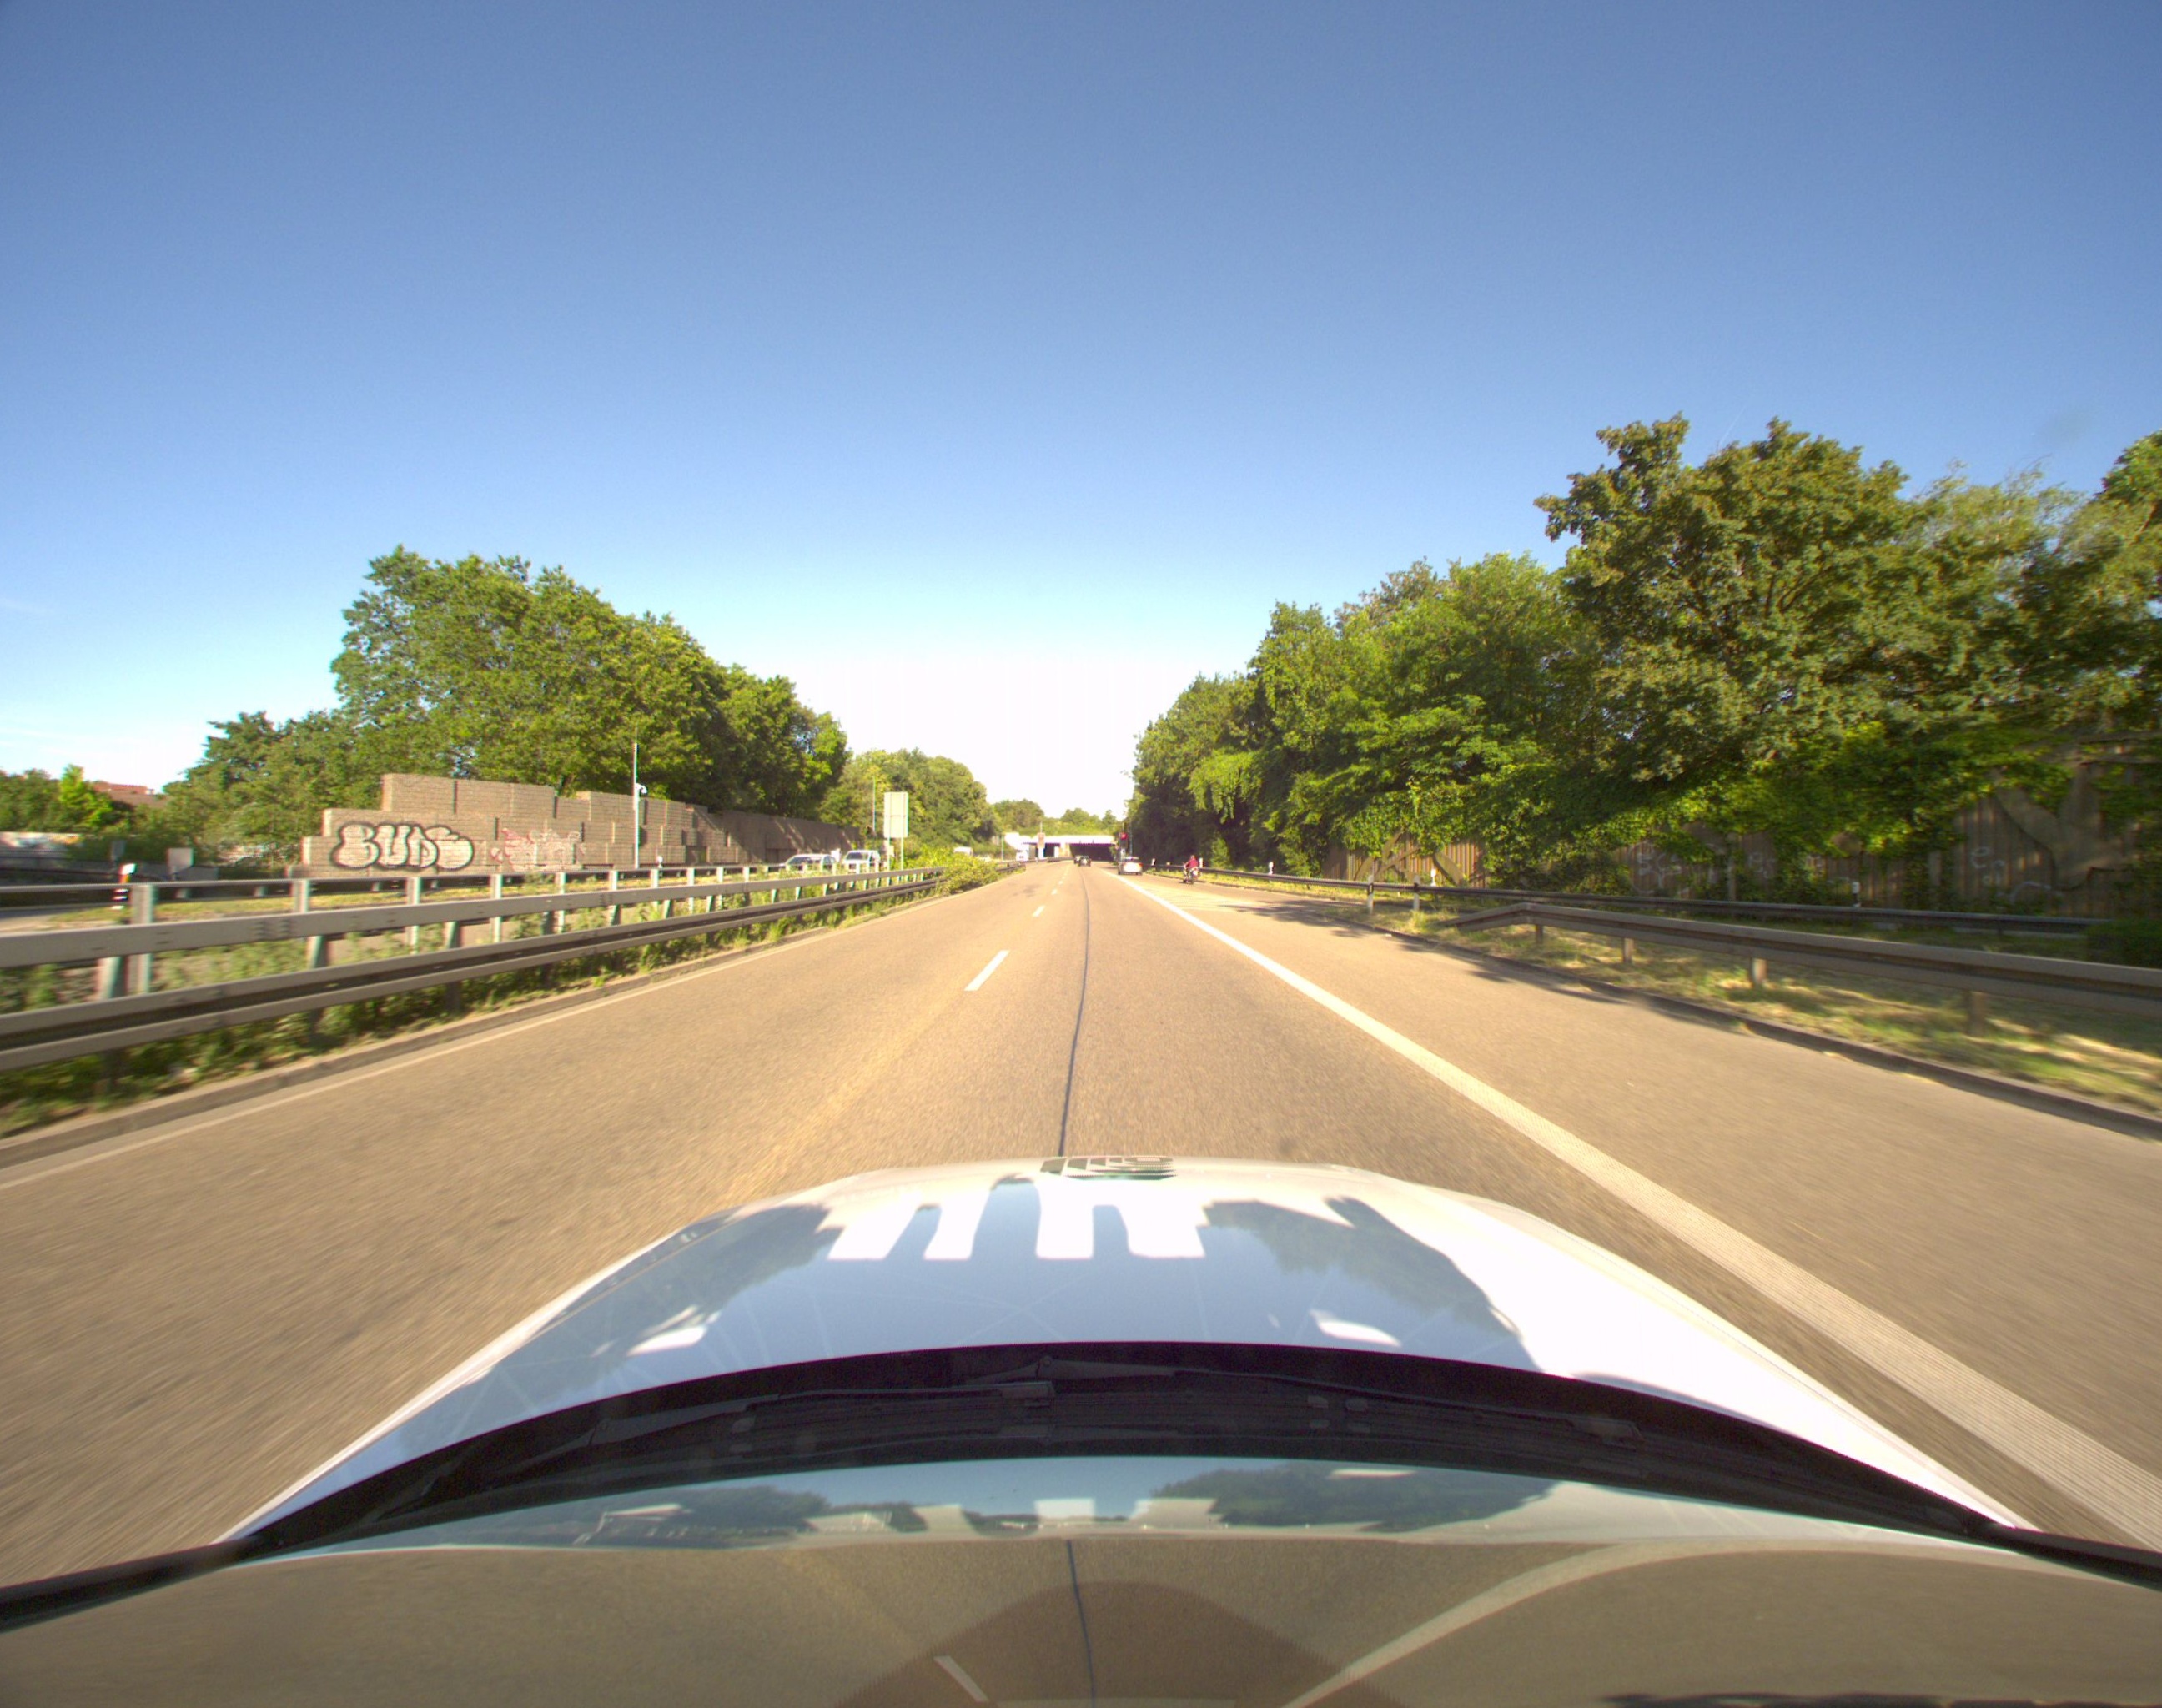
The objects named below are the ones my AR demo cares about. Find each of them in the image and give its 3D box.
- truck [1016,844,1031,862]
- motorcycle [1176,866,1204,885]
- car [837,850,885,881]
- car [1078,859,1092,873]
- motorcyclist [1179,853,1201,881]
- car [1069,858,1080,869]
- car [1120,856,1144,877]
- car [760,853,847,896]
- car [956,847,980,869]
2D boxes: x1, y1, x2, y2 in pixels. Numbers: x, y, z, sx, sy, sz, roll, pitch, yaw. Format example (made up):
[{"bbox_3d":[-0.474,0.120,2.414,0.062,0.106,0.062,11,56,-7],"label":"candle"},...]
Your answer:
[{"bbox_3d":[-13.614,-0.284,192.295,2.726,4.261,6.388,2,1,1],"label":"truck"},{"bbox_3d":[6.167,1.207,46.315,0.858,0.991,2.721,2,0,-7],"label":"motorcycle"},{"bbox_3d":[-14.334,0.691,53.285,1.816,1.821,4.621,2,1,0],"label":"car"},{"bbox_3d":[0.576,1.742,119.794,1.987,1.925,3.999,1,0,0],"label":"car"},{"bbox_3d":[6.189,0.743,46.301,0.883,1.501,1.060,2,0,-9],"label":"motorcyclist"},{"bbox_3d":[-1.200,1.728,150.737,1.987,1.925,3.999,1,0,0],"label":"car"},{"bbox_3d":[4.087,0.973,66.135,1.661,1.552,4.000,2,1,0],"label":"car"},{"bbox_3d":[-10.856,0.740,32.211,1.816,1.480,4.620,2,1,-1],"label":"car"},{"bbox_3d":[-14.618,0.473,105.406,2.140,2.611,6.051,2,1,0],"label":"car"}]
